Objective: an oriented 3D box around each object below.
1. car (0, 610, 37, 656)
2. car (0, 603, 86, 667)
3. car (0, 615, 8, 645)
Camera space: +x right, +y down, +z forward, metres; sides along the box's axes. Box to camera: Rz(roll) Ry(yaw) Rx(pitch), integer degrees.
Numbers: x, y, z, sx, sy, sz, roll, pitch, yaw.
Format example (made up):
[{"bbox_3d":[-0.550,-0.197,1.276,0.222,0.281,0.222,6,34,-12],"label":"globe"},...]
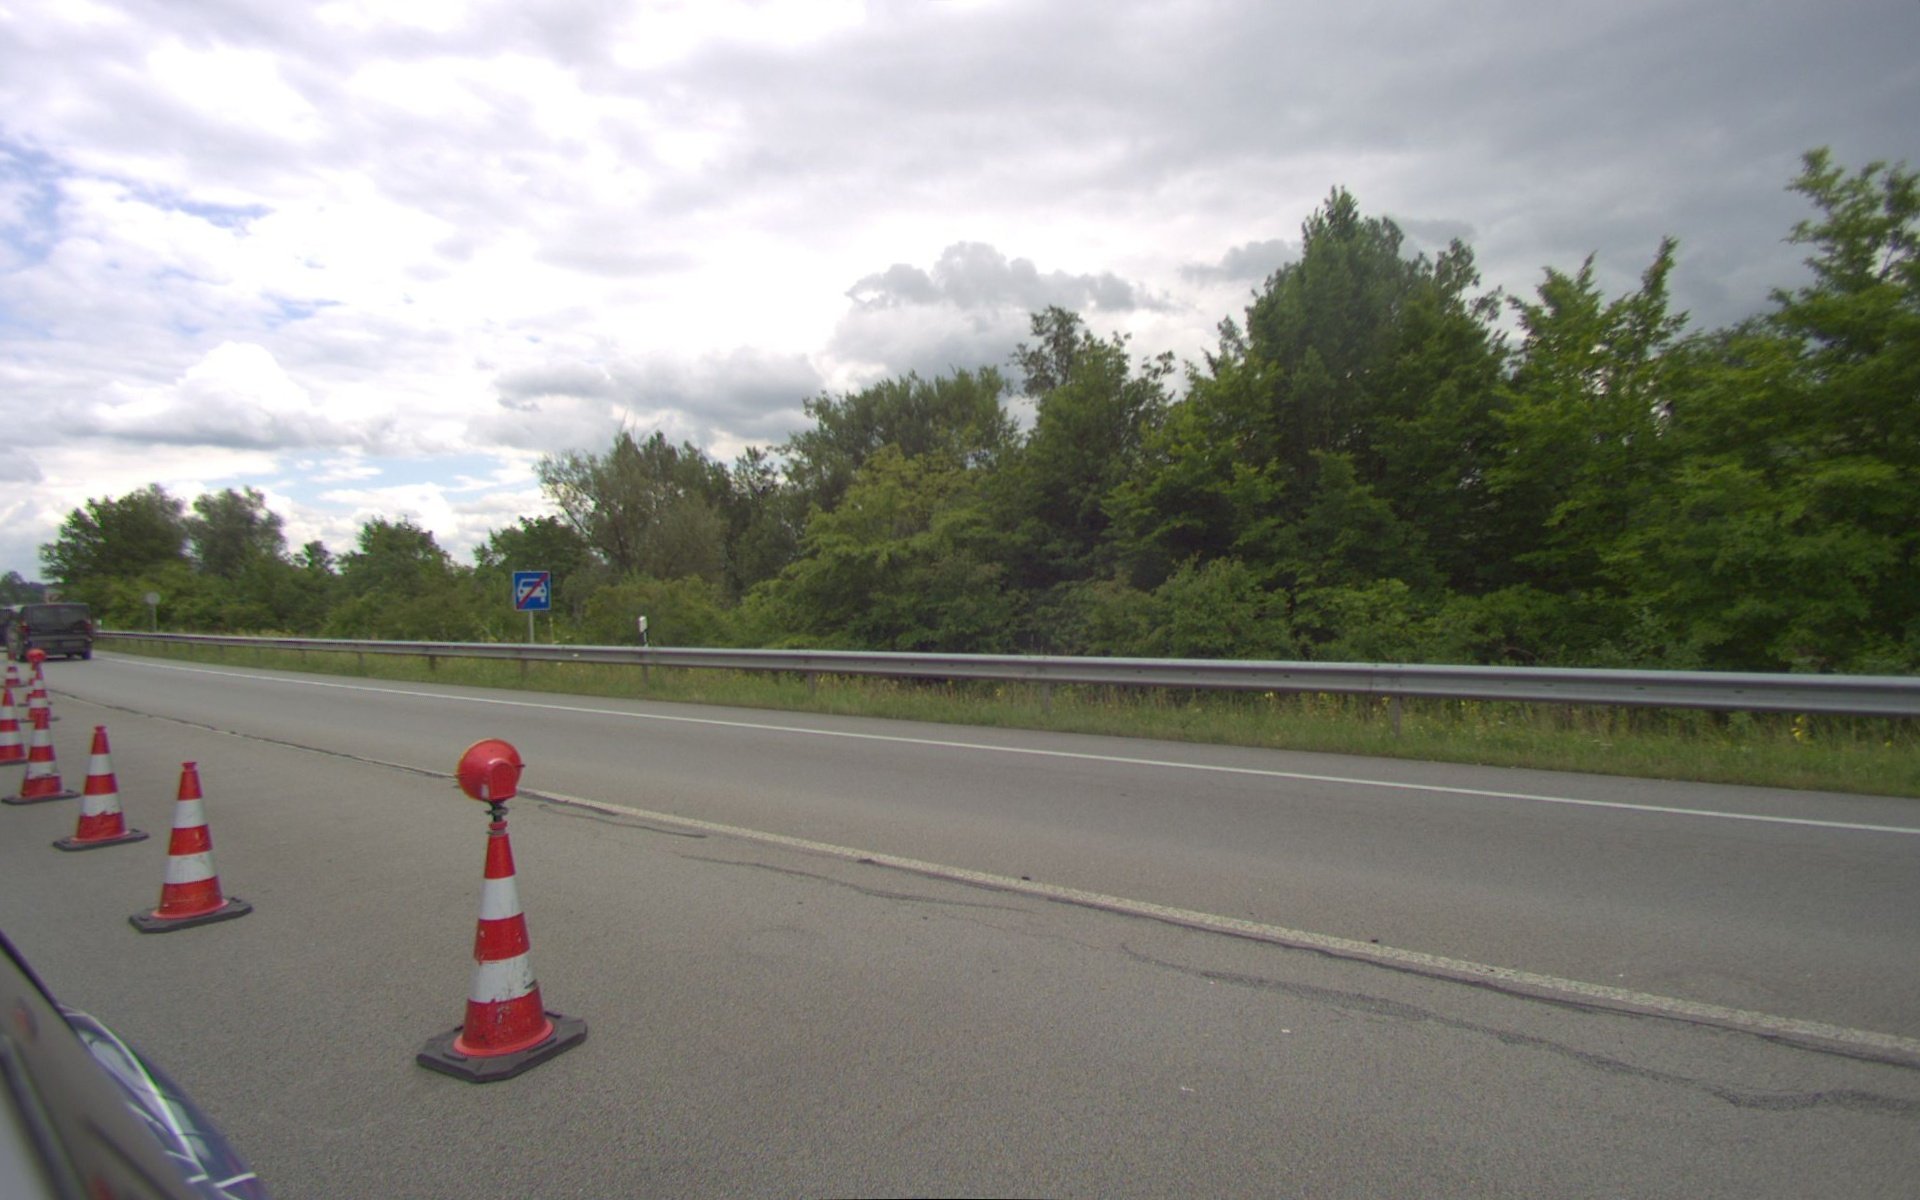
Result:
[{"bbox_3d":[-42.164,1.439,44.540,4.533,1.898,1.945,-1,-1,43],"label":"car"},{"bbox_3d":[-31.652,1.152,34.704,5.316,2.002,2.007,-1,-1,43],"label":"car"},{"bbox_3d":[-60.046,1.862,62.242,4.532,1.844,1.903,-1,-1,43],"label":"car"}]
